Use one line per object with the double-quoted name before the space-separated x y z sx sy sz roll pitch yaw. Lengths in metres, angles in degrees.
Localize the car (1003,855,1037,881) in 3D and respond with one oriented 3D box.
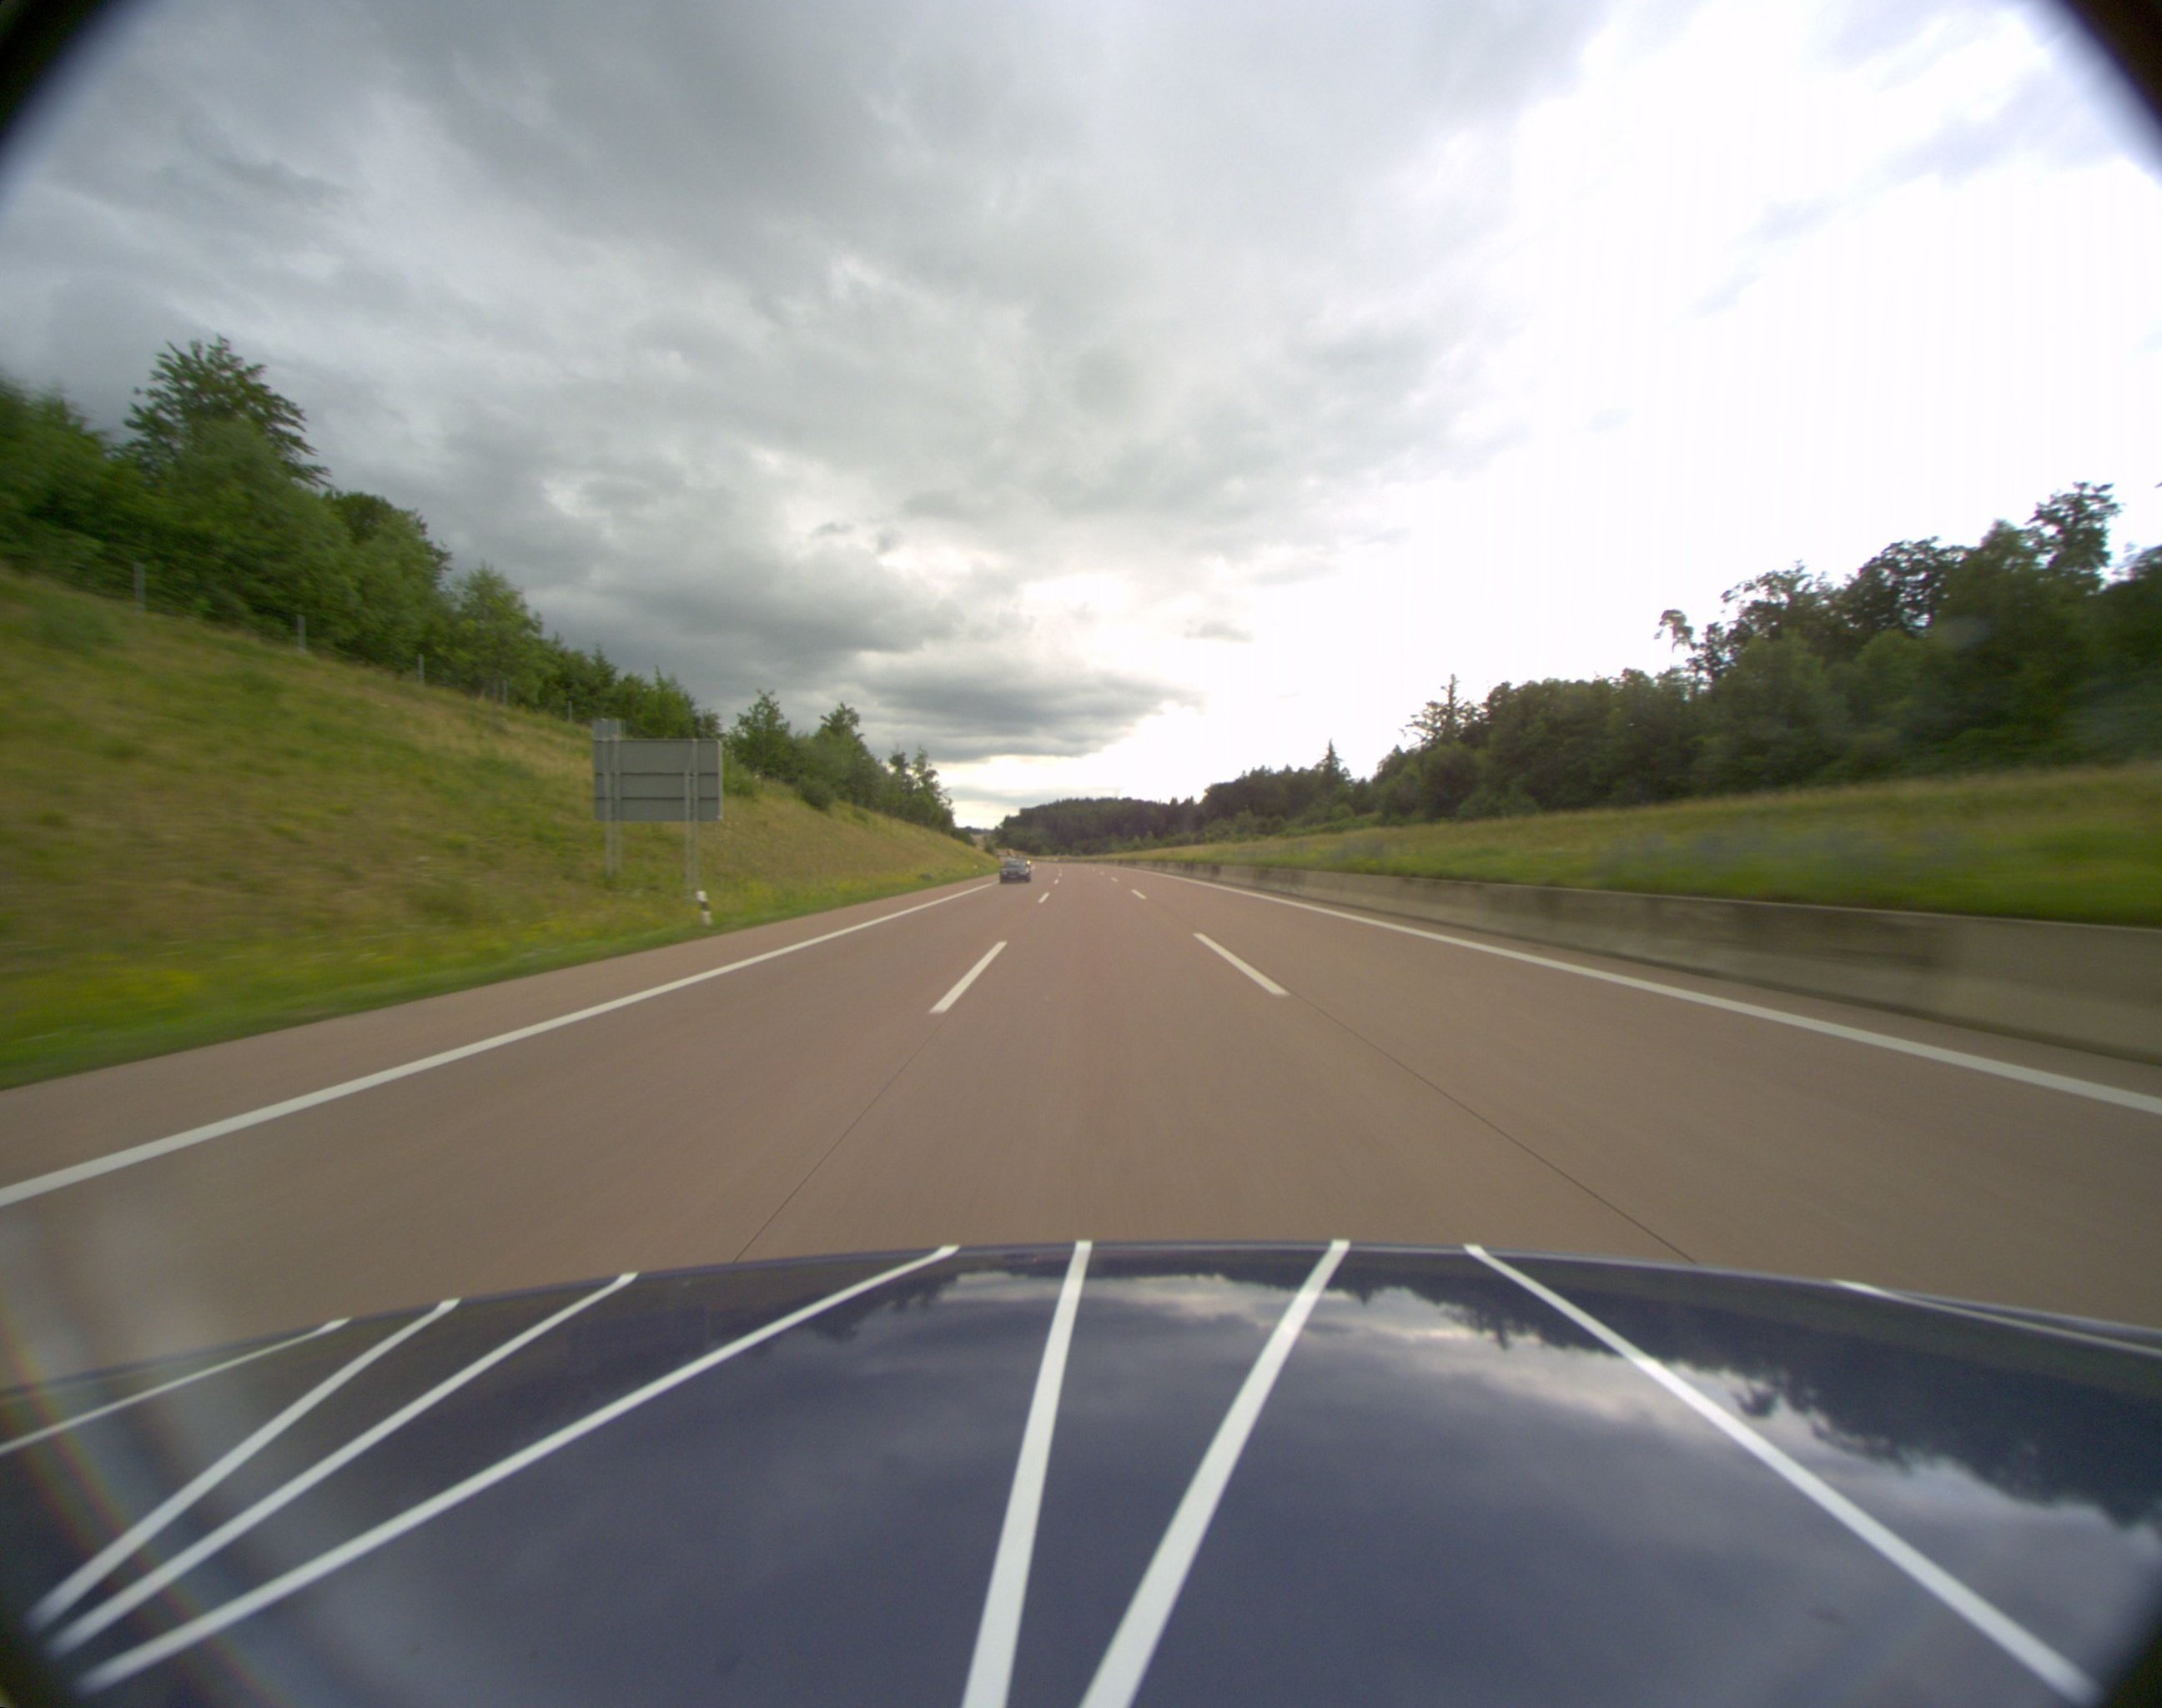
"car" -3.701 0.858 46.955 1.676 1.395 4.232 -1 1 1
